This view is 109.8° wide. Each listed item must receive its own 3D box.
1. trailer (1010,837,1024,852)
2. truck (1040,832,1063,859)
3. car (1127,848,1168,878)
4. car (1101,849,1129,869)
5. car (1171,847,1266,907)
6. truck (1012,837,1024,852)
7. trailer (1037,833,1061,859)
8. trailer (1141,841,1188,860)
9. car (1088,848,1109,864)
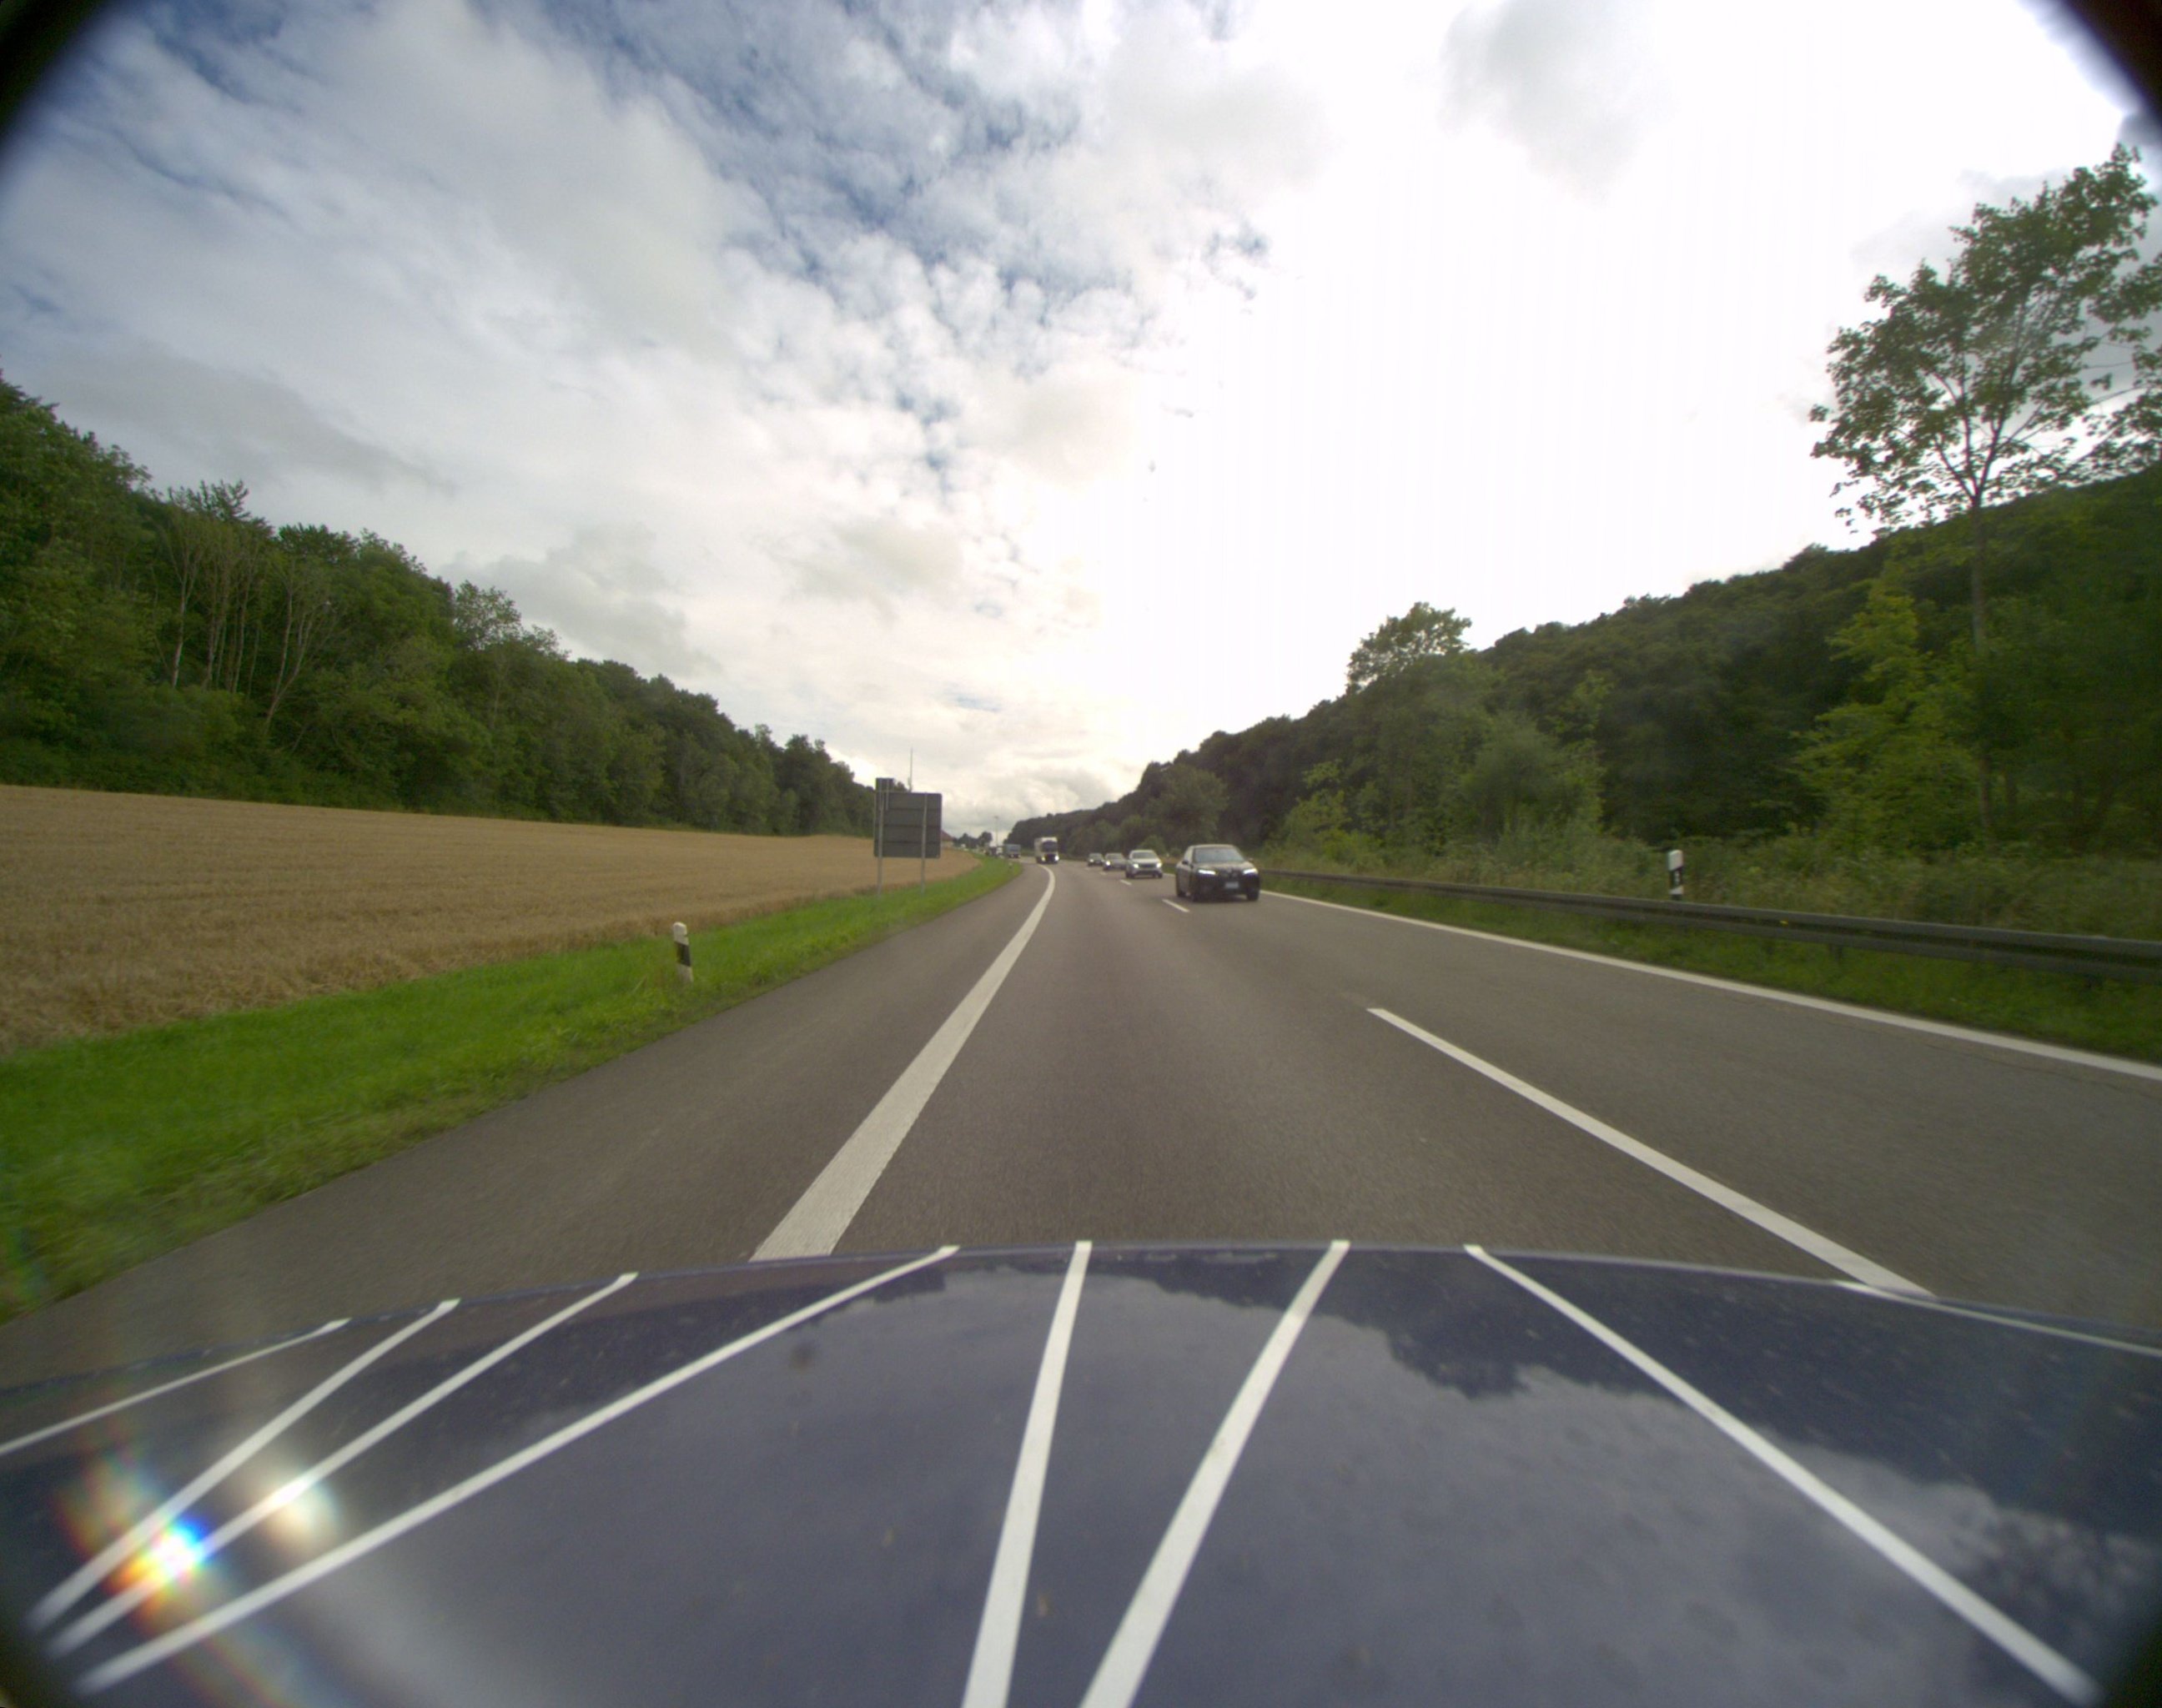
[{"bbox_3d":[-17.000,-2.476,200.181,2.788,3.932,11.286,-2,1,-9],"label":"trailer"},{"bbox_3d":[-4.509,-1.287,115.925,2.797,3.949,5.935,-1,1,-7],"label":"truck"},{"bbox_3d":[3.892,0.487,45.447,1.999,1.656,4.414,-1,1,0],"label":"car"},{"bbox_3d":[2.942,0.388,66.103,1.999,1.656,4.413,-1,1,-3],"label":"car"},{"bbox_3d":[4.154,0.619,23.671,1.999,1.656,4.413,-1,1,-2],"label":"car"},{"bbox_3d":[-16.146,-2.419,194.472,2.797,3.949,5.935,-2,1,-9],"label":"truck"},{"bbox_3d":[-5.145,-1.301,120.787,2.788,3.932,11.287,-2,1,-8],"label":"trailer"},{"bbox_3d":[15.451,-0.555,142.093,3.164,3.201,13.792,-2,0,-19],"label":"trailer"},{"bbox_3d":[1.970,0.201,86.836,1.999,1.656,4.412,-1,2,-4],"label":"car"}]
